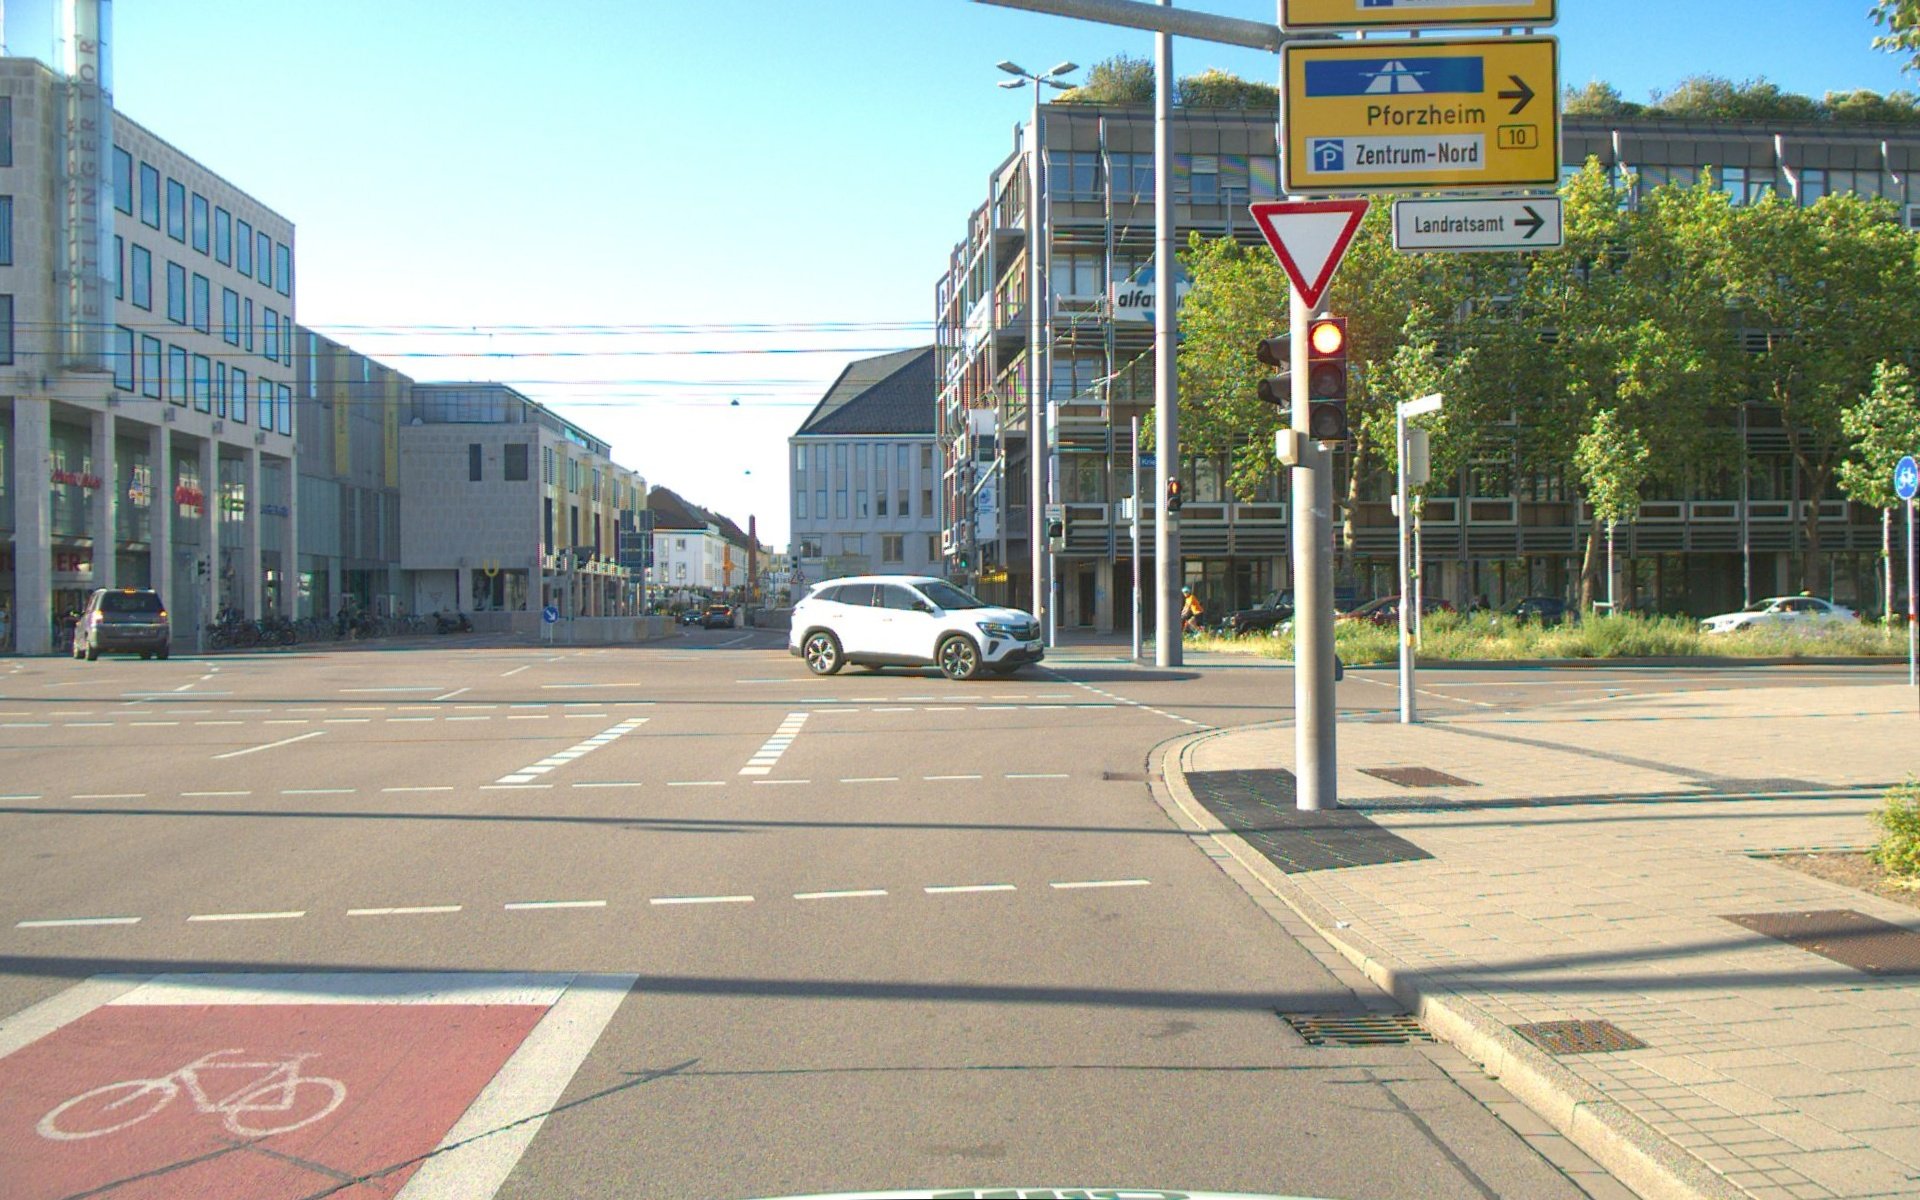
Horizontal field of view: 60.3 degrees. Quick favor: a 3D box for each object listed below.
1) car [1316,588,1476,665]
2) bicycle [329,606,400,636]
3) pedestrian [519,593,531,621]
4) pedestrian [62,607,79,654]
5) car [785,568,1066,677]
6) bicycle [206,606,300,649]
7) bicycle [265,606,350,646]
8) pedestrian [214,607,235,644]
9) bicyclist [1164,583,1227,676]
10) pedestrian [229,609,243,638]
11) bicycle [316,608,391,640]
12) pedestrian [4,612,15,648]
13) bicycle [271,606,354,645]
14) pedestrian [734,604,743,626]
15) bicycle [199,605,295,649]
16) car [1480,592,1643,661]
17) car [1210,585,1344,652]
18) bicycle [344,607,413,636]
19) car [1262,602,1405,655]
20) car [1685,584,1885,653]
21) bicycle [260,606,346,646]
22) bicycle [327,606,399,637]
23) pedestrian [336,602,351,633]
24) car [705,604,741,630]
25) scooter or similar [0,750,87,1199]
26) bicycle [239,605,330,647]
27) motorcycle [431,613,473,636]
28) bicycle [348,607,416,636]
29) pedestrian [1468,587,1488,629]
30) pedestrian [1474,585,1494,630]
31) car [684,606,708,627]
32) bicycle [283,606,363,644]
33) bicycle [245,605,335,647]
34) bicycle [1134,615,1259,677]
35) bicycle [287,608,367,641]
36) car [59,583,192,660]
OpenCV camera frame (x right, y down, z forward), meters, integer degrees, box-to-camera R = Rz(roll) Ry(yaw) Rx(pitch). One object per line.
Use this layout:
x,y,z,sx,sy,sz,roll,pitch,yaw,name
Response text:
12.230,0.733,46.573,3.908,2.049,1.999,1,0,-3,car
-31.388,1.108,87.241,3.430,1.554,0.984,-1,0,-12,bicycle
-31.228,0.499,118.678,0.613,2.049,0.734,-1,0,1,pedestrian
-32.581,1.114,60.557,0.534,1.671,0.545,-1,0,-30,pedestrian
-0.590,0.371,27.589,4.309,1.689,1.996,0,-1,30,car
-29.555,1.139,69.232,3.427,1.726,1.114,-1,0,-10,bicycle
-29.797,1.178,75.578,3.430,1.726,0.984,-1,0,-12,bicycle
-33.425,1.158,75.197,0.772,1.671,0.692,-1,0,-17,pedestrian
6.717,0.832,47.218,1.539,2.625,0.930,-1,0,-10,bicyclist
-36.582,1.191,83.541,0.629,1.460,0.472,-1,0,-23,pedestrian
-30.883,1.212,84.263,3.430,1.554,0.984,-1,0,-12,bicycle
-38.964,1.233,67.807,0.382,1.437,0.433,-1,0,-29,pedestrian
-30.038,1.179,76.778,3.430,1.726,0.984,-1,0,-12,bicycle
-14.459,0.965,107.983,0.598,1.436,0.569,-1,0,-7,pedestrian
-29.322,1.113,68.029,3.427,1.726,1.114,-1,0,-10,bicycle
18.826,0.821,51.874,4.359,2.049,1.998,1,0,-6,car
10.304,0.598,53.914,3.908,2.049,1.999,1,0,-3,car
-31.782,1.168,90.397,3.430,1.554,0.984,-1,0,-12,bicycle
11.438,0.864,50.810,3.908,1.534,1.867,1,0,-4,car
26.171,0.579,52.569,5.332,2.049,2.096,1,0,-3,car
-29.573,1.169,74.490,3.430,1.726,0.984,-1,0,-12,bicycle
-31.071,1.120,86.124,3.430,1.554,0.984,-1,0,-12,bicycle
-33.658,0.950,90.269,0.641,1.671,0.693,-1,0,-9,pedestrian
-15.494,1.097,108.159,2.157,1.635,4.320,-1,0,-6,car
-1.728,0.851,1.776,0.713,1.223,1.664,0,0,-1,scooter or similar
-28.868,1.087,70.709,3.427,1.726,1.114,-1,0,-10,bicycle
-29.953,1.436,97.591,2.230,1.341,0.719,-1,0,-6,motorcycle
-31.946,1.198,91.421,3.430,1.554,0.984,-1,0,-12,bicycle
19.809,0.302,63.244,0.529,1.618,0.586,-1,0,-3,pedestrian
19.845,0.293,62.637,0.529,1.698,0.536,-1,0,-3,pedestrian
-23.853,1.513,149.563,1.722,1.814,3.997,-1,0,-4,car
-30.337,1.188,78.864,3.430,1.726,0.984,-1,0,-12,bicycle
-29.098,1.124,71.922,3.427,1.726,1.114,-1,0,-10,bicycle
6.747,1.302,47.217,3.427,1.688,0.929,-1,0,-10,bicycle
-30.541,1.171,79.853,3.430,1.554,0.984,-1,0,-12,bicycle
-20.122,0.480,39.791,1.981,1.635,4.418,1,1,-39,car
